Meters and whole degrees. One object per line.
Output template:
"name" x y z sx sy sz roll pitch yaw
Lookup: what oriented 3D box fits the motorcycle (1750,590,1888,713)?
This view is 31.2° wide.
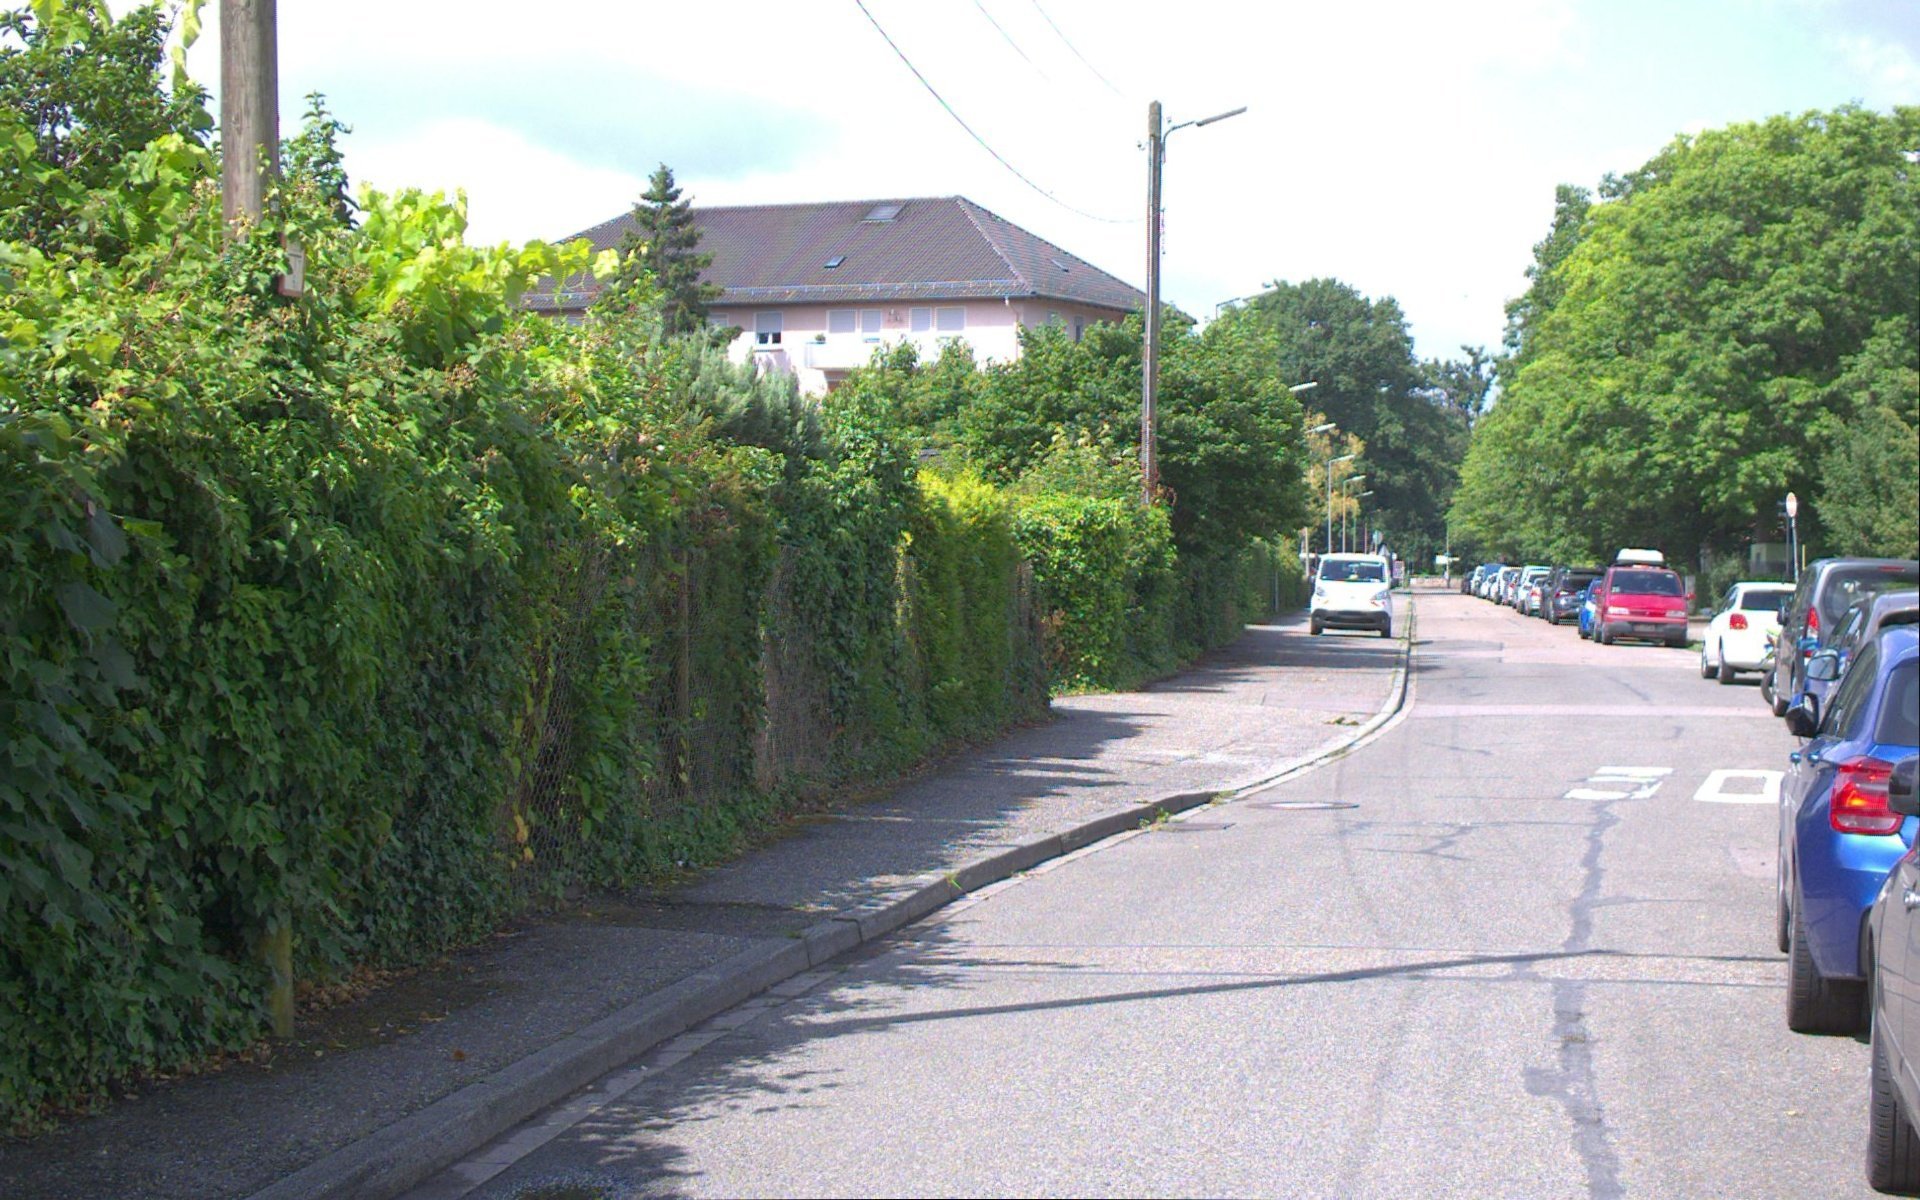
"motorcycle" 9.911 0.585 39.721 1.428 1.357 0.869 2 0 9

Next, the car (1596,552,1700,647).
"car" 14.890 -0.011 74.591 2.059 1.919 4.539 2 1 10

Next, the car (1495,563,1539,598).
"car" 27.257 -0.946 168.047 1.853 1.612 3.998 2 1 12

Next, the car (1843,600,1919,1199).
"car" 2.819 0.784 7.259 1.664 1.501 3.998 2 1 13

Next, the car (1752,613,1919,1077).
"car" 3.862 0.806 12.866 1.664 1.435 4.204 2 1 13

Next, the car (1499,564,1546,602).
"car" 25.126 -0.758 153.427 1.853 1.612 3.998 1 0 12

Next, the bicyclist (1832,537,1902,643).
"bicyclist" 15.555 -0.176 58.964 0.787 1.779 0.892 2 0 40

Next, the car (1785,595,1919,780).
"car" 7.958 0.707 28.888 1.664 1.430 3.540 2 1 9

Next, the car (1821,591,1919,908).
"car" 5.585 0.762 18.646 1.664 1.547 3.634 2 1 15

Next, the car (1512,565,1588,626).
"car" 17.030 -0.139 99.147 2.059 1.646 4.539 2 1 10

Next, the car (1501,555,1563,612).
"car" 20.652 -0.599 124.060 2.059 1.955 4.539 2 1 10

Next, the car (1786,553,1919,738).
"car" 9.683 0.465 36.024 1.875 1.800 3.430 2 0 13

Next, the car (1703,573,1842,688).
"car" 11.598 0.416 49.275 1.679 1.514 3.998 2 1 10

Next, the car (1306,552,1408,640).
"car" 8.749 -0.098 75.488 1.903 1.808 3.998 2 1 10
